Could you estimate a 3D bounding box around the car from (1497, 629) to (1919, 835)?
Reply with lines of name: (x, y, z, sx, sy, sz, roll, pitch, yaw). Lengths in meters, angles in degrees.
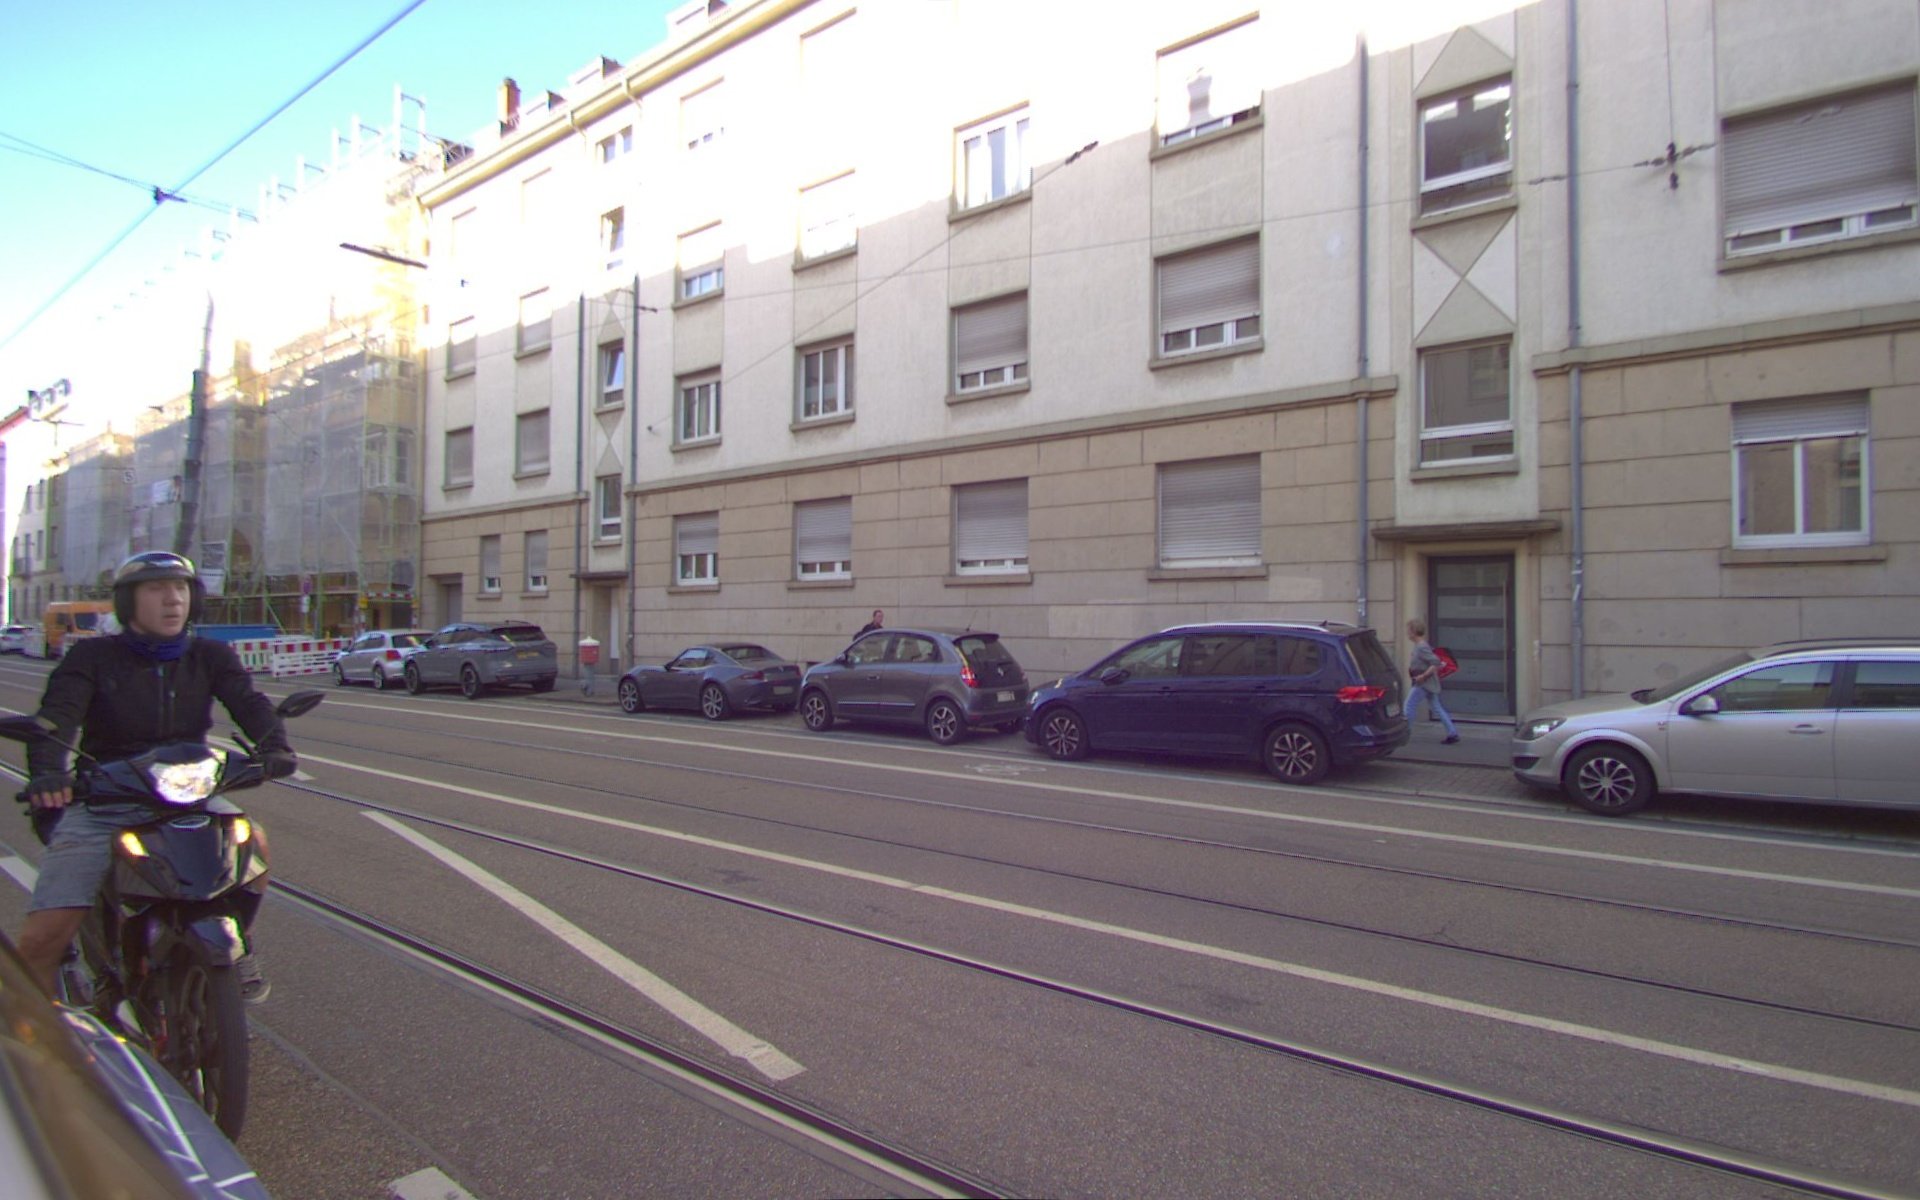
car: (7.130, 1.000, 8.502, 4.383, 1.489, 1.779, -1, -1, 38)

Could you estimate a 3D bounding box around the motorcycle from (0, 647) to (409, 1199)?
motorcycle: (-2.635, 0.816, 3.238, 2.272, 1.302, 0.781, -2, -3, 41)

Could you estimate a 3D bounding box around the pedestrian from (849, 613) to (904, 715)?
pedestrian: (-1.441, 1.090, 17.451, 0.729, 1.722, 0.597, -2, -3, 39)

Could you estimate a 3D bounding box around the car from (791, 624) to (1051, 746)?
car: (-0.623, 1.131, 14.655, 3.535, 1.539, 1.659, -1, -1, 38)

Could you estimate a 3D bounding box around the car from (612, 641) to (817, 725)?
car: (-4.309, 1.364, 17.501, 3.681, 1.244, 1.502, -1, -1, 38)

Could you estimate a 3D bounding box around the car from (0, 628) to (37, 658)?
car: (-50.058, 2.267, 53.345, 3.964, 1.498, 1.662, -2, -1, 42)

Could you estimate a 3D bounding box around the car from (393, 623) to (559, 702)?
car: (-10.877, 1.331, 22.661, 4.201, 1.611, 1.675, -1, -1, 38)

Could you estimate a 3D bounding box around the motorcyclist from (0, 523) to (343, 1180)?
motorcyclist: (-2.538, 0.655, 3.160, 0.899, 1.668, 0.781, -2, -3, 41)

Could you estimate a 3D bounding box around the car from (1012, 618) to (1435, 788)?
car: (2.897, 1.030, 11.676, 4.383, 1.611, 1.779, -1, -1, 38)

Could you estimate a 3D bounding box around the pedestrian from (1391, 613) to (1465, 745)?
pedestrian: (5.743, 0.947, 12.421, 0.693, 1.553, 0.563, -2, -3, 39)

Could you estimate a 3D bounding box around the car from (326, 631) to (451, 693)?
car: (-14.379, 1.496, 25.398, 3.506, 1.423, 1.524, -1, -1, 38)

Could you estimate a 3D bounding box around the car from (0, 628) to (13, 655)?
car: (-54.574, 2.323, 56.822, 3.964, 1.498, 1.662, -2, -1, 42)
